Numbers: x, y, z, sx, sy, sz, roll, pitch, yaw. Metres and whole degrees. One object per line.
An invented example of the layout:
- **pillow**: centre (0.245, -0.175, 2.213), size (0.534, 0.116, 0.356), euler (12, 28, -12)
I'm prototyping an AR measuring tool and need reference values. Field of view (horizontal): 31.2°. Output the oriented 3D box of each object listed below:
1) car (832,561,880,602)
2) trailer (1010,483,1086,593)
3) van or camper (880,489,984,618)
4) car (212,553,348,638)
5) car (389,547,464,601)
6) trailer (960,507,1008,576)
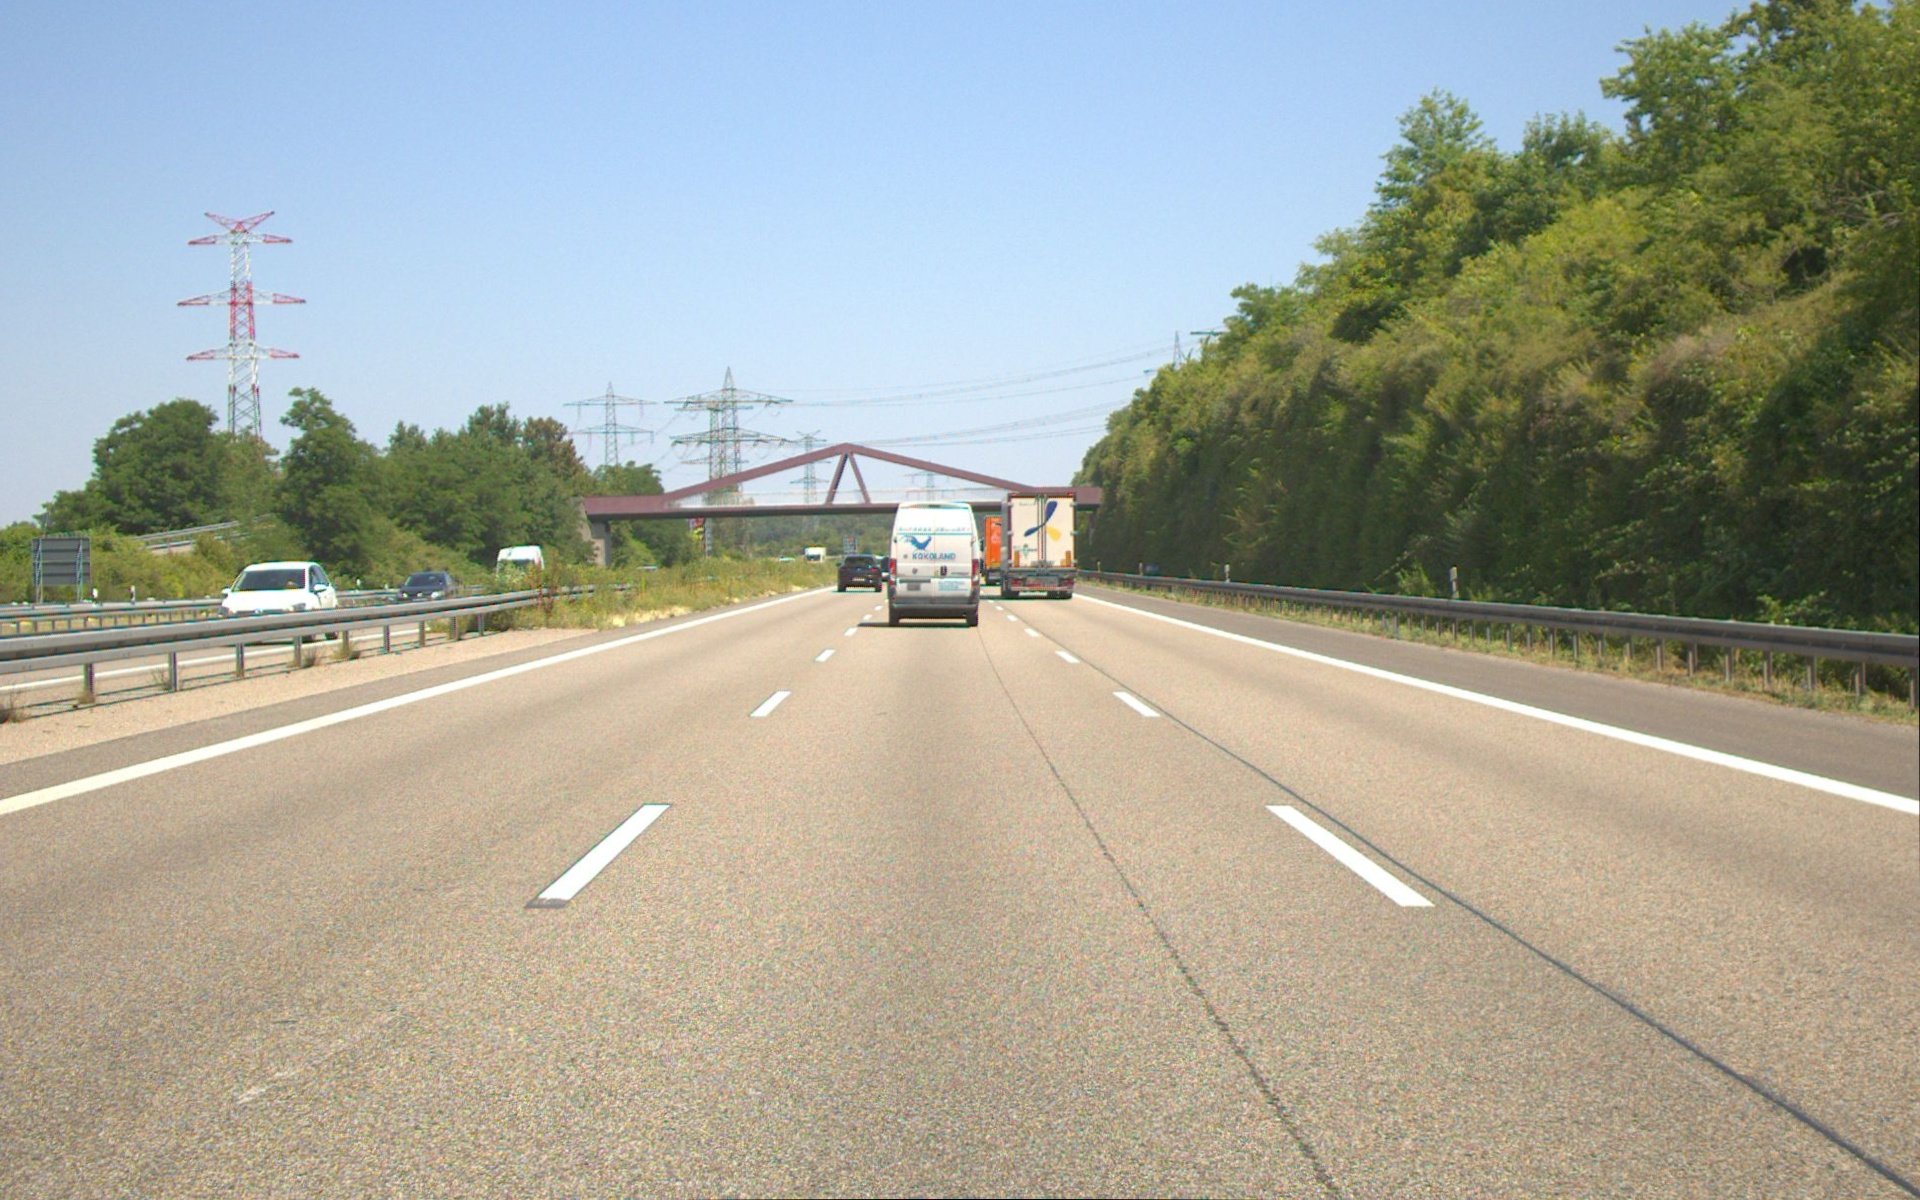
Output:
- **car**: centre (-4.794, -0.870, 158.716), size (1.982, 1.811, 3.812), euler (1, 1, 1)
- **trailer**: centre (3.384, -2.412, 134.833), size (2.637, 4.046, 12.366), euler (1, 1, 0)
- **van or camper**: centre (-0.635, -1.059, 78.411), size (2.230, 2.772, 5.423), euler (1, 1, -1)
- **car**: centre (-13.207, -0.125, 67.013), size (1.717, 1.524, 4.667), euler (-3, 1, -1)
- **car**: centre (-18.620, -0.913, 120.129), size (1.953, 1.804, 5.048), euler (1, 1, -2)
- **trailer**: centre (1.400, -3.397, 199.431), size (2.637, 3.883, 7.069), euler (1, 1, 0)
